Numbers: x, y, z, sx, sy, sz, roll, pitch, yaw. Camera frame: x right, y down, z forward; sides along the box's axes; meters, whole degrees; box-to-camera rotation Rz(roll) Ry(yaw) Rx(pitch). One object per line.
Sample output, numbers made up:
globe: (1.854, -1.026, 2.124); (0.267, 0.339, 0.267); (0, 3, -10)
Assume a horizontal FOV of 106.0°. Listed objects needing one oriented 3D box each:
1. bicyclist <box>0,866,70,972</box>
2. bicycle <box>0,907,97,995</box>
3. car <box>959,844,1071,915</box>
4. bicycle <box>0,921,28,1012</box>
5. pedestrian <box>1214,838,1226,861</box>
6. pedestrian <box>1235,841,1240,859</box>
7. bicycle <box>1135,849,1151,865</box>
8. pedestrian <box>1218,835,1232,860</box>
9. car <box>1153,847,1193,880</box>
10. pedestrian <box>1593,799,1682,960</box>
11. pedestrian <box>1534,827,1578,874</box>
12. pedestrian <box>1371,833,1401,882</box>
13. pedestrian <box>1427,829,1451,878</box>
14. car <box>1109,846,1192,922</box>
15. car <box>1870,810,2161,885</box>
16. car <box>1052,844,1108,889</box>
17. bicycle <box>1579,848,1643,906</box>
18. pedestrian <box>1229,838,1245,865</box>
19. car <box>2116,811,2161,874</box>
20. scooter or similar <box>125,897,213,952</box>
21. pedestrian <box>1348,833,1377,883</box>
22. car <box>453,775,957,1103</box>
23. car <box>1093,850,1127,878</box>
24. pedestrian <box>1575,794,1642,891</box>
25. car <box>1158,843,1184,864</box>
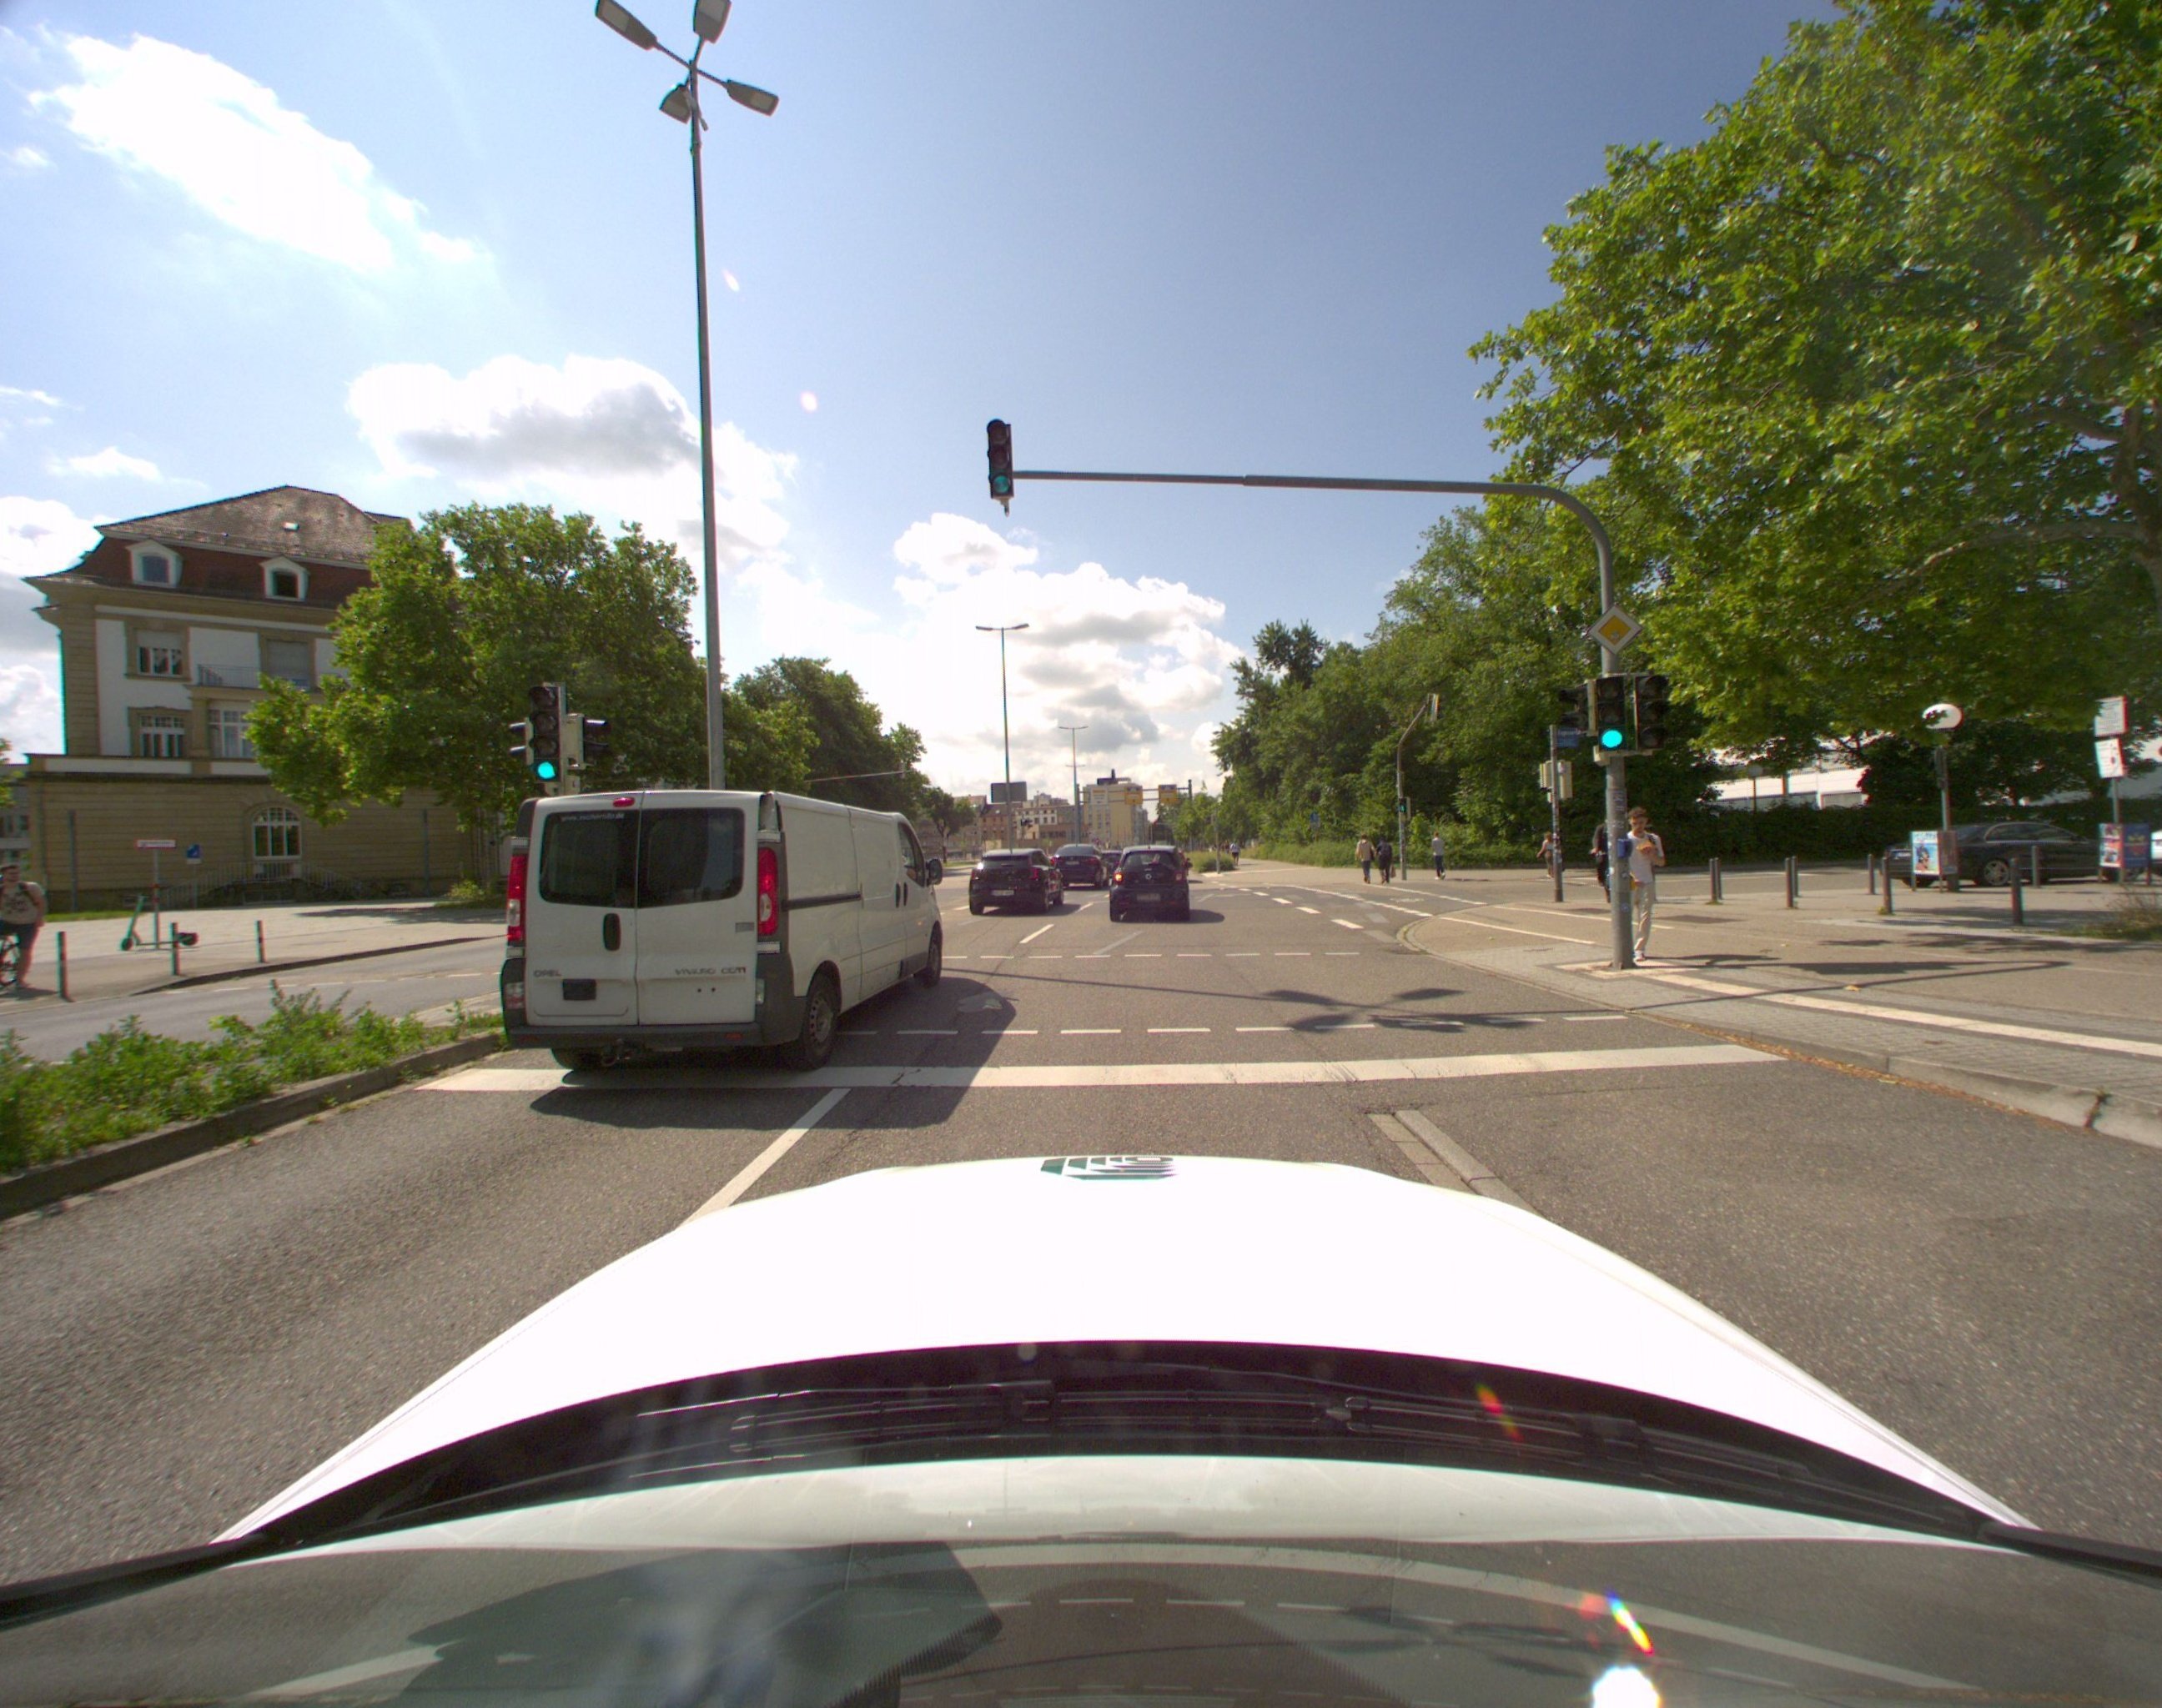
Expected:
bicyclist: (-15.987, 0.962, 12.246); (0.658, 1.538, 0.780); (-2, 0, -23)
bicycle: (-16.018, 1.452, 12.338); (0.696, 1.124, 1.658); (-2, 2, -24)
car: (-1.531, 0.559, 20.900); (2.007, 1.530, 4.895); (-1, 1, 5)
bicycle: (-14.551, 1.466, 10.285); (1.658, 1.124, 0.696); (-2, 0, 4)
pedestrian: (12.111, -0.370, 70.980); (0.835, 1.969, 0.861); (-2, 0, 2)
pedestrian: (16.430, -0.396, 85.490); (0.500, 1.890, 0.560); (-1, 0, 1)
bicycle: (8.293, 0.386, 109.218); (1.986, 2.013, 4.002); (-1, 0, 2)
pedestrian: (10.926, -0.518, 61.882); (0.835, 1.868, 1.020); (-2, 0, 2)
car: (4.075, 0.394, 36.379); (1.604, 1.411, 3.521); (0, 1, 4)
pedestrian: (6.563, 0.287, 9.609); (0.598, 1.800, 0.604); (-4, 0, -36)
pedestrian: (17.025, -0.144, 29.227); (0.855, 1.626, 1.016); (-4, 2, -13)
pedestrian: (11.032, 0.108, 29.491); (0.790, 1.704, 1.186); (-2, 1, 12)
pedestrian: (13.484, -0.038, 30.721); (0.666, 1.820, 0.706); (-2, 1, 12)
car: (1.495, 0.576, 17.864); (1.604, 1.485, 3.521); (-1, 0, 4)
car: (20.856, -0.116, 18.083); (4.915, 1.400, 1.724); (-2, -2, 0)
car: (0.039, 0.427, 31.345); (1.819, 1.601, 4.398); (-1, 1, 4)
bicycle: (10.602, 0.440, 16.269); (0.807, 1.073, 1.903); (-5, -3, 39)
pedestrian: (10.073, -0.160, 52.659); (0.847, 1.700, 0.932); (-4, 0, 4)
car: (26.376, -0.363, 18.112); (4.409, 1.400, 1.724); (-2, -2, 0)
scooter or similar: (-19.519, 1.500, 17.452); (1.154, 1.066, 0.399); (-2, 0, -27)
pedestrian: (9.912, 0.116, 28.697); (0.790, 1.704, 1.186); (-2, 1, 12)
car: (-2.686, 0.505, 7.539); (1.998, 1.955, 5.198); (-1, 0, 3)
car: (1.557, 0.511, 42.655); (1.604, 1.325, 3.521); (-2, 0, 4)
pedestrian: (10.568, -0.227, 16.317); (0.845, 1.820, 1.183); (-7, -3, 39)
car: (6.190, -0.044, 56.147); (1.604, 1.411, 3.521); (0, 1, 4)
